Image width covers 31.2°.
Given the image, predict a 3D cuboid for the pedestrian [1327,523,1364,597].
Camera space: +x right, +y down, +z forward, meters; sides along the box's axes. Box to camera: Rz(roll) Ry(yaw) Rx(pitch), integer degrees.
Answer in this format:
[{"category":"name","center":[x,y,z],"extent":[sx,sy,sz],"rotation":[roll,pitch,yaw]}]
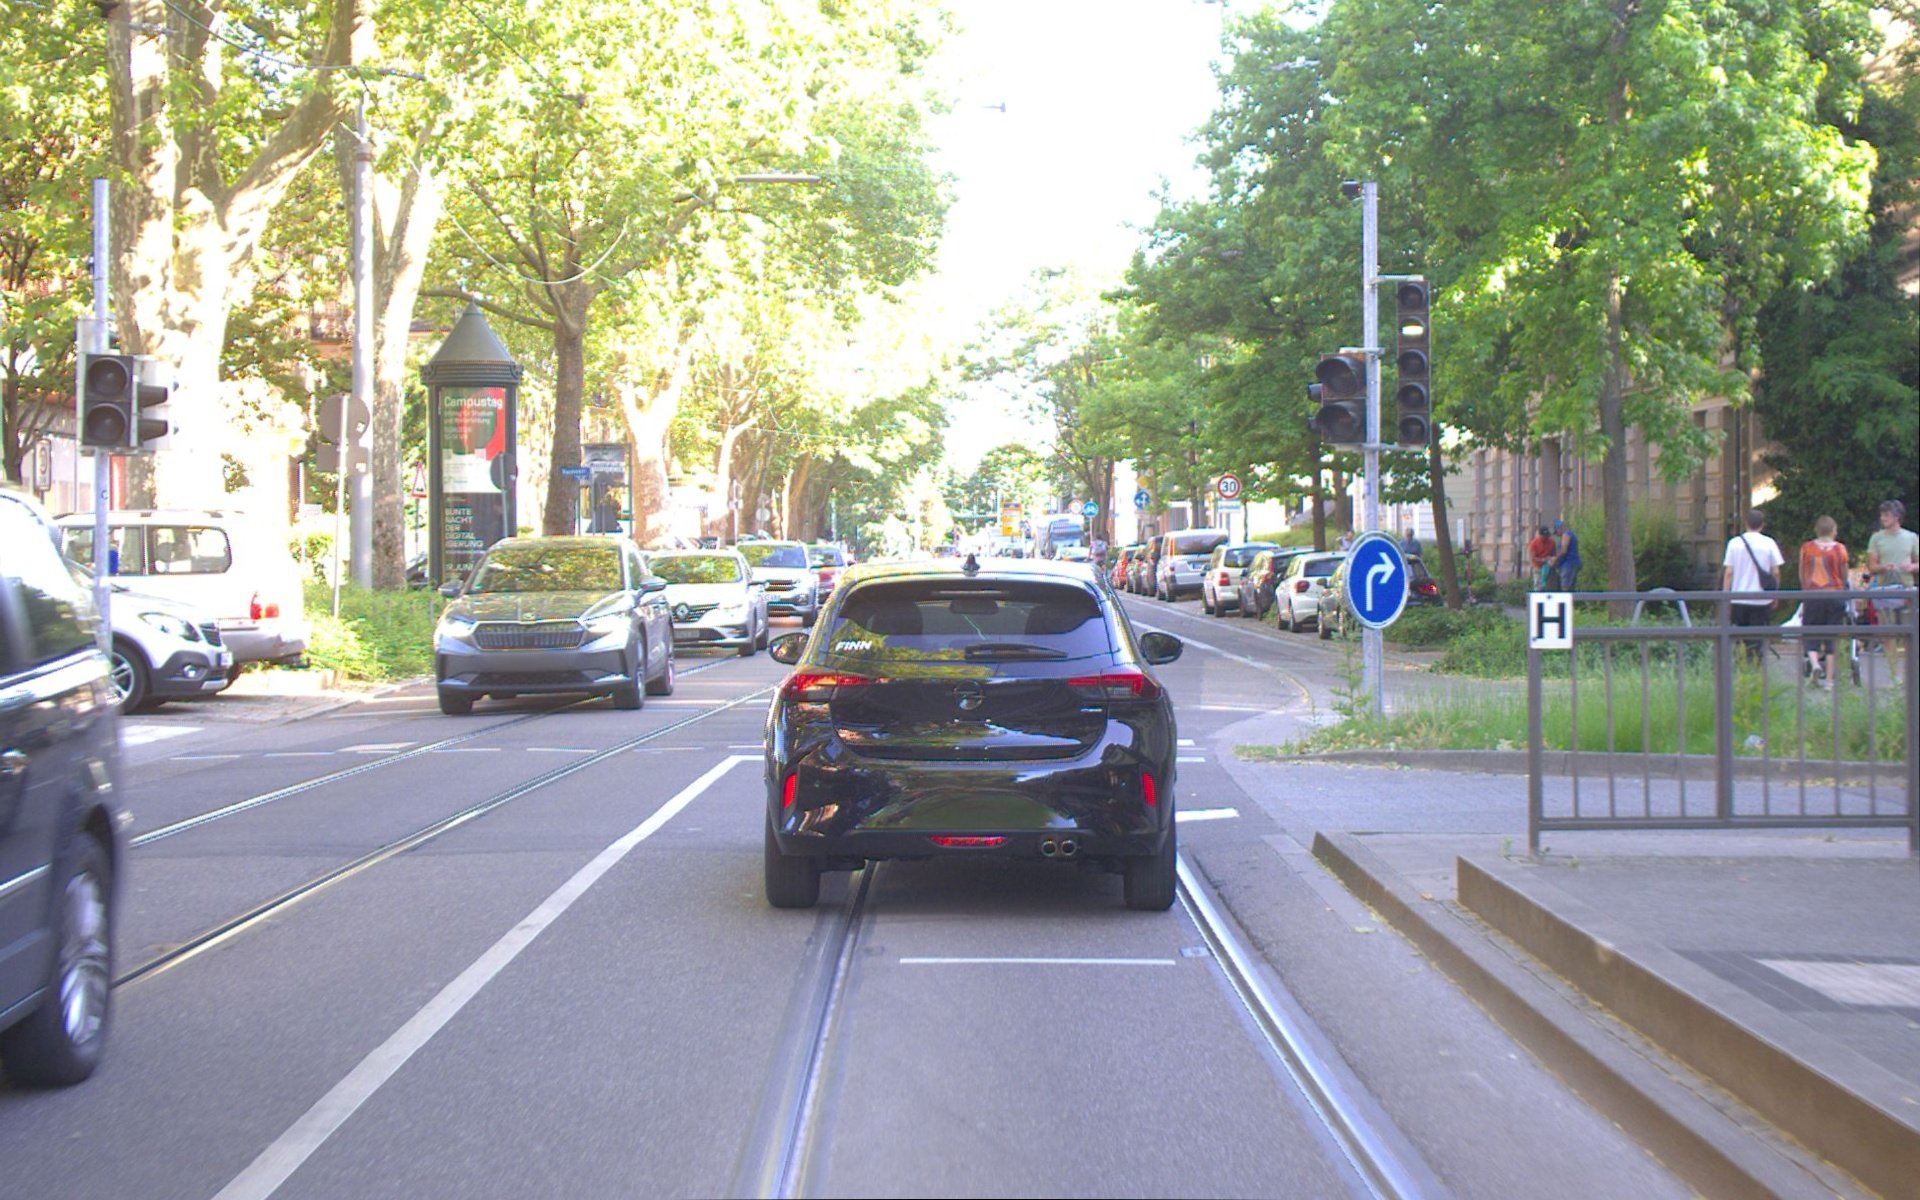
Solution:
[{"category":"pedestrian","center":[8.867,-0.923,79.092],"extent":[0.726,1.687,0.957],"rotation":[1,1,1]}]

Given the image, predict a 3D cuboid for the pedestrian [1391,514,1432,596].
[{"category":"pedestrian","center":[9.879,-0.987,75.186],"extent":[0.726,1.787,0.600],"rotation":[1,1,-8]}]

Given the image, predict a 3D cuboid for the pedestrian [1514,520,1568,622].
[{"category":"pedestrian","center":[10.238,-0.511,60.609],"extent":[0.726,1.787,0.601],"rotation":[0,1,-18]}]

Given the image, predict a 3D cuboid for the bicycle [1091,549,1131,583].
[{"category":"bicycle","center":[4.504,-1.024,102.808],"extent":[0.968,0.995,2.583],"rotation":[1,1,-2]}]

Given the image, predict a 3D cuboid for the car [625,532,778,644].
[{"category":"car","center":[-3.509,-0.188,47.311],"extent":[1.775,1.456,4.204],"rotation":[1,1,0]}]

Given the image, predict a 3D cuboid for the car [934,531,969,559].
[{"category":"car","center":[-0.600,-3.670,228.970],"extent":[2.254,1.834,5.531],"rotation":[-1,1,-1]}]

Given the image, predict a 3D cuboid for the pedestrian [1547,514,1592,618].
[{"category":"pedestrian","center":[10.612,-0.598,59.875],"extent":[0.598,1.787,0.728],"rotation":[1,1,-3]}]

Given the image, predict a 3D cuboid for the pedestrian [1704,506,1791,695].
[{"category":"pedestrian","center":[7.641,-0.006,33.375],"extent":[0.726,1.787,0.853],"rotation":[-2,1,10]}]

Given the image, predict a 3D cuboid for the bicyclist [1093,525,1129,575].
[{"category":"bicyclist","center":[4.507,-1.498,102.778],"extent":[0.958,1.494,1.094],"rotation":[1,1,-2]}]

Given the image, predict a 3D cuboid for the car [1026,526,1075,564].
[{"category":"car","center":[4.583,-2.788,174.577],"extent":[2.254,1.834,5.531],"rotation":[-1,1,-1]}]

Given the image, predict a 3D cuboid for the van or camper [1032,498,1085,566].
[{"category":"van or camper","center":[4.771,-3.290,167.371],"extent":[2.254,3.205,5.531],"rotation":[-1,1,-1]}]

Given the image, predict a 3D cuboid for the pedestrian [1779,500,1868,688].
[{"category":"pedestrian","center":[8.416,-0.071,33.518],"extent":[0.726,1.787,0.967],"rotation":[-2,1,10]}]

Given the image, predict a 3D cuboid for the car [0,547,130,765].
[{"category":"car","center":[-8.347,0.340,23.866],"extent":[4.763,1.455,1.955],"rotation":[1,1,-5]}]

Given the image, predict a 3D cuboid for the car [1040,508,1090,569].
[{"category":"car","center":[4.883,-2.914,160.810],"extent":[2.085,2.762,4.698],"rotation":[-1,1,-1]}]

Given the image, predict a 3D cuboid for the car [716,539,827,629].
[{"category":"car","center":[-3.454,-0.312,63.592],"extent":[1.815,1.563,4.116],"rotation":[-2,1,0]}]

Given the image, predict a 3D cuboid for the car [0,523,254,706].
[{"category":"car","center":[-8.864,0.109,32.188],"extent":[4.139,1.641,1.902],"rotation":[1,1,-2]}]

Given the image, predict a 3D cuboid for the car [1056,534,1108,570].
[{"category":"car","center":[5.088,-2.004,143.523],"extent":[1.884,1.429,4.530],"rotation":[-3,1,-1]}]

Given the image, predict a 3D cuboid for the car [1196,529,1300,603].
[{"category":"car","center":[6.520,-0.787,78.125],"extent":[1.884,1.562,4.242],"rotation":[-3,1,-1]}]

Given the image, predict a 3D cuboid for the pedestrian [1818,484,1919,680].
[{"category":"pedestrian","center":[9.047,-0.179,33.565],"extent":[0.867,1.878,0.998],"rotation":[0,1,-18]}]

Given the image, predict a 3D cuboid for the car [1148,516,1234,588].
[{"category":"car","center":[6.245,-1.308,93.419],"extent":[1.884,1.845,4.968],"rotation":[-3,1,-1]}]

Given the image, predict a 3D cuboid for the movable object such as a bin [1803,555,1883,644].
[{"category":"movable object such as a bin","center":[11.301,-0.015,44.003],"extent":[0.665,1.122,0.957],"rotation":[1,1,-8]}]

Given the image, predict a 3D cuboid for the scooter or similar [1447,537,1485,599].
[{"category":"scooter or similar","center":[10.318,-0.654,70.184],"extent":[0.576,1.242,1.335],"rotation":[1,1,0]}]

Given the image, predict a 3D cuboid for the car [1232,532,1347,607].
[{"category":"car","center":[6.983,-0.661,73.285],"extent":[1.884,1.462,4.594],"rotation":[-3,1,-1]}]

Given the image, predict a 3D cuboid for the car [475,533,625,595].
[{"category":"car","center":[-10.064,-0.892,84.506],"extent":[3.420,1.460,1.697],"rotation":[1,1,2]}]

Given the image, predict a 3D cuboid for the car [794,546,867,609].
[{"category":"car","center":[-3.085,-0.551,81.432],"extent":[1.660,1.439,3.474],"rotation":[1,1,-3]}]

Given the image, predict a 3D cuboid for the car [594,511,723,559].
[{"category":"car","center":[-10.287,-2.227,117.479],"extent":[4.299,1.601,1.926],"rotation":[0,1,-3]}]

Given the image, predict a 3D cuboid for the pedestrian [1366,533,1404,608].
[{"category":"pedestrian","center":[9.755,-0.690,78.974],"extent":[0.726,1.703,0.856],"rotation":[1,1,-2]}]

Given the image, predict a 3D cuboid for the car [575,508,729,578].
[{"category":"car","center":[-10.215,-1.905,114.379],"extent":[5.032,2.251,2.086],"rotation":[1,1,-4]}]

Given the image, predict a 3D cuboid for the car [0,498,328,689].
[{"category":"car","center":[-8.797,-0.086,34.528],"extent":[4.570,1.827,1.939],"rotation":[1,1,-2]}]

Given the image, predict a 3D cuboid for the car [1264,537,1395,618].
[{"category":"car","center":[6.837,-0.439,63.906],"extent":[1.884,1.363,4.107],"rotation":[-3,1,-1]}]

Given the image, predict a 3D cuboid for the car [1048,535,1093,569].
[{"category":"car","center":[4.929,-2.142,153.617],"extent":[1.803,1.429,4.000],"rotation":[-1,0,-1]}]

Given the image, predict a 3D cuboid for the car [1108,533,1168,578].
[{"category":"car","center":[6.060,-1.522,117.366],"extent":[1.702,1.418,3.979],"rotation":[-3,1,-1]}]

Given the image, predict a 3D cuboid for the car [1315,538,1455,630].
[{"category":"car","center":[7.042,-0.291,57.260],"extent":[1.672,1.407,3.843],"rotation":[-3,1,-2]}]

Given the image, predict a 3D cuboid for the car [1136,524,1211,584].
[{"category":"car","center":[6.354,-1.380,102.780],"extent":[1.885,1.760,4.678],"rotation":[-1,1,-1]}]

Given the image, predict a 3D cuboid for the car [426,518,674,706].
[{"category":"car","center":[-3.818,0.075,32.660],"extent":[1.908,1.632,4.321],"rotation":[-1,1,-1]}]

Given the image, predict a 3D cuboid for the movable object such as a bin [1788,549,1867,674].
[{"category":"movable object such as a bin","center":[8.688,0.103,34.467],"extent":[0.639,1.198,1.304],"rotation":[-2,1,10]}]

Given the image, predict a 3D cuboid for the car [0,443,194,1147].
[{"category":"car","center":[-3.318,0.470,7.960],"extent":[1.993,1.710,5.143],"rotation":[1,1,-1]}]

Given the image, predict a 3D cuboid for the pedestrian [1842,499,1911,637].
[{"category":"pedestrian","center":[11.516,-0.399,43.202],"extent":[0.617,1.720,0.554],"rotation":[1,1,-15]}]

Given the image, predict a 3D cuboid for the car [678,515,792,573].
[{"category":"car","center":[-10.460,-2.604,160.141],"extent":[5.036,2.366,2.081],"rotation":[-3,1,0]}]

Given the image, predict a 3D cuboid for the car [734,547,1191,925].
[{"category":"car","center":[-0.010,0.501,15.374],"extent":[1.763,1.455,3.950],"rotation":[1,1,-1]}]
